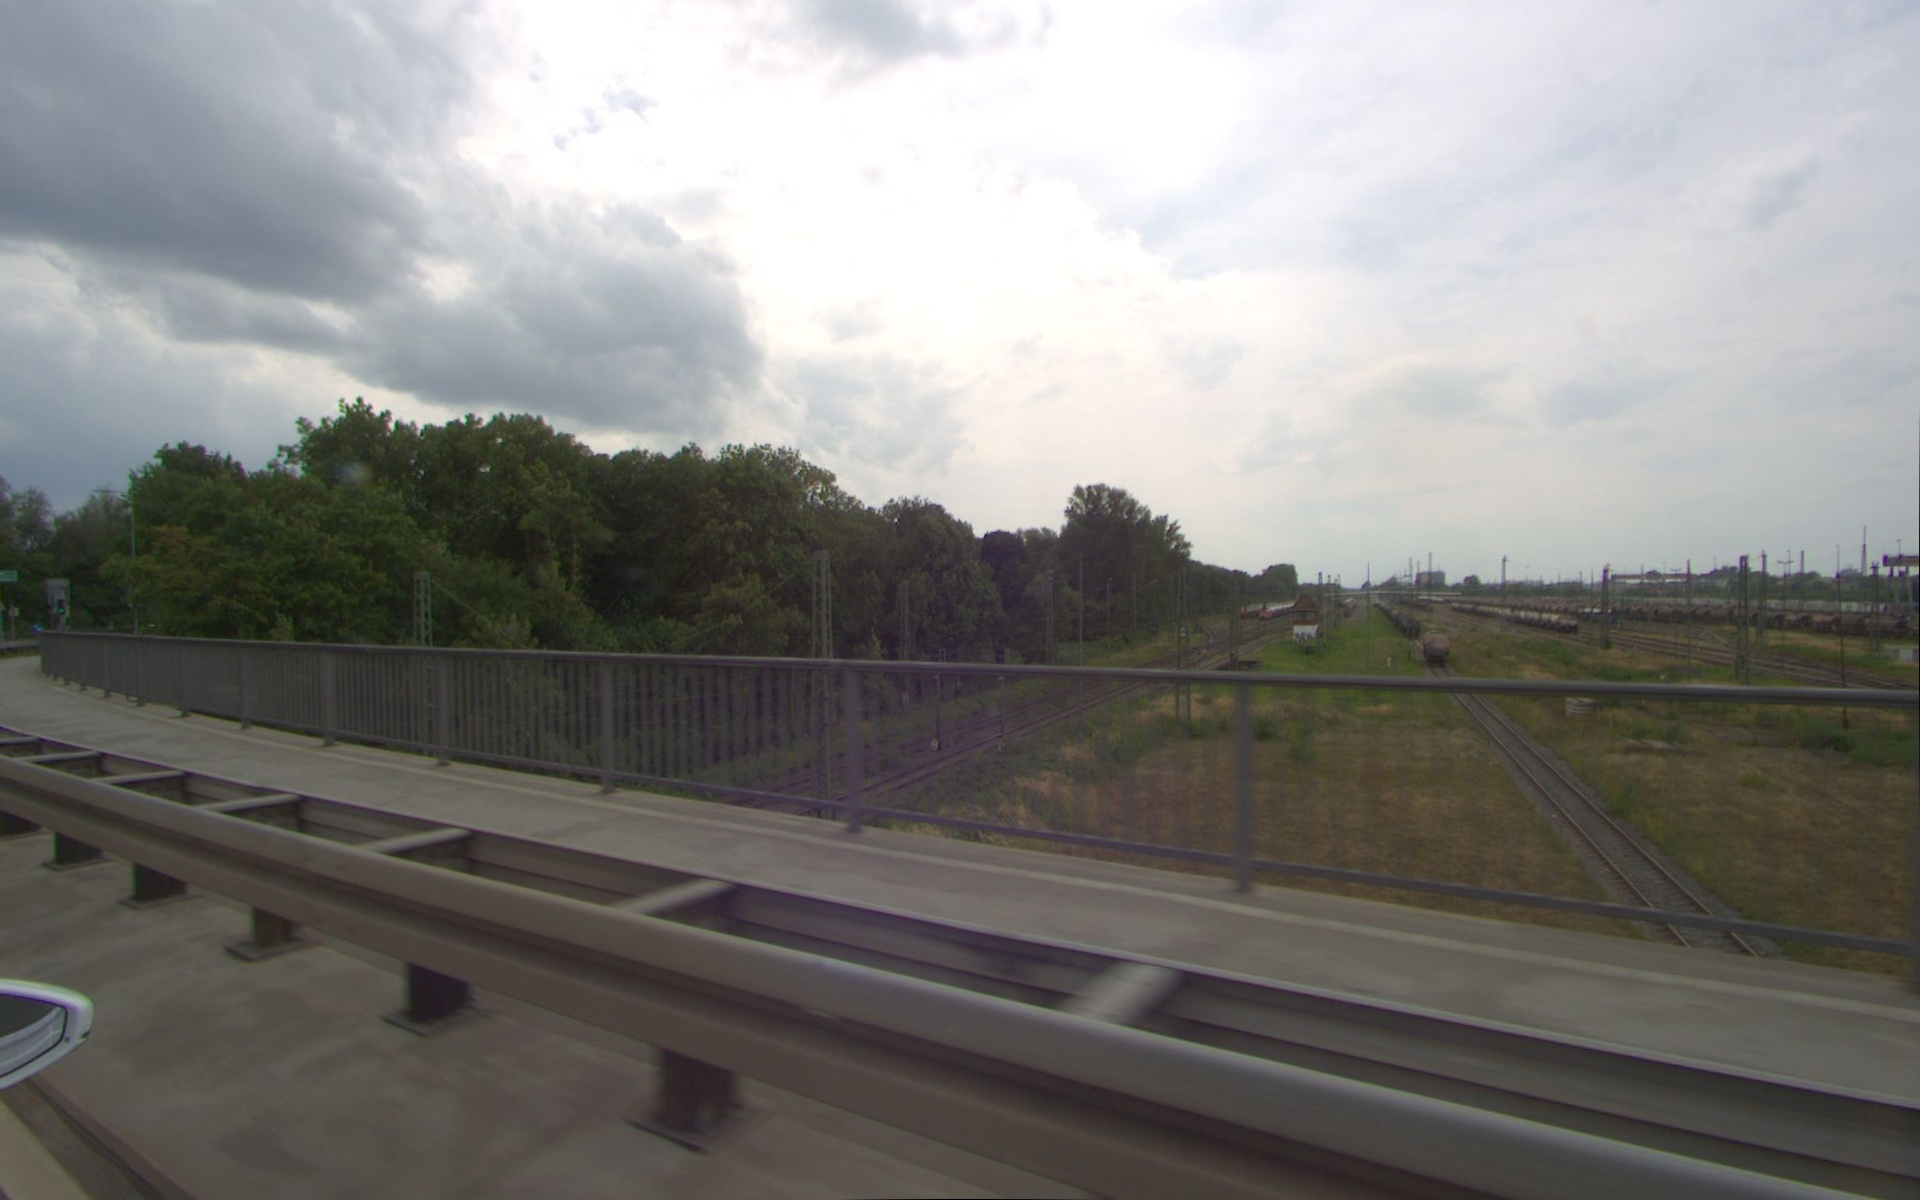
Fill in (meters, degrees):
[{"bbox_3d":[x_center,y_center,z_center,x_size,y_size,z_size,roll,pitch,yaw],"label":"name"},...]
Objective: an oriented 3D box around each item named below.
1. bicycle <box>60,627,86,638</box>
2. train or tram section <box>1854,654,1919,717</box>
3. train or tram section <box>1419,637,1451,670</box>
[{"bbox_3d":[-87.971,3.214,99.305,1.907,1.066,0.708,-2,-1,-1],"label":"bicycle"},{"bbox_3d":[89.137,7.874,90.094,3.924,5.549,25.647,0,-2,21],"label":"train or tram section"},{"bbox_3d":[64.901,7.240,137.033,3.197,4.221,11.364,0,-2,21],"label":"train or tram section"}]
